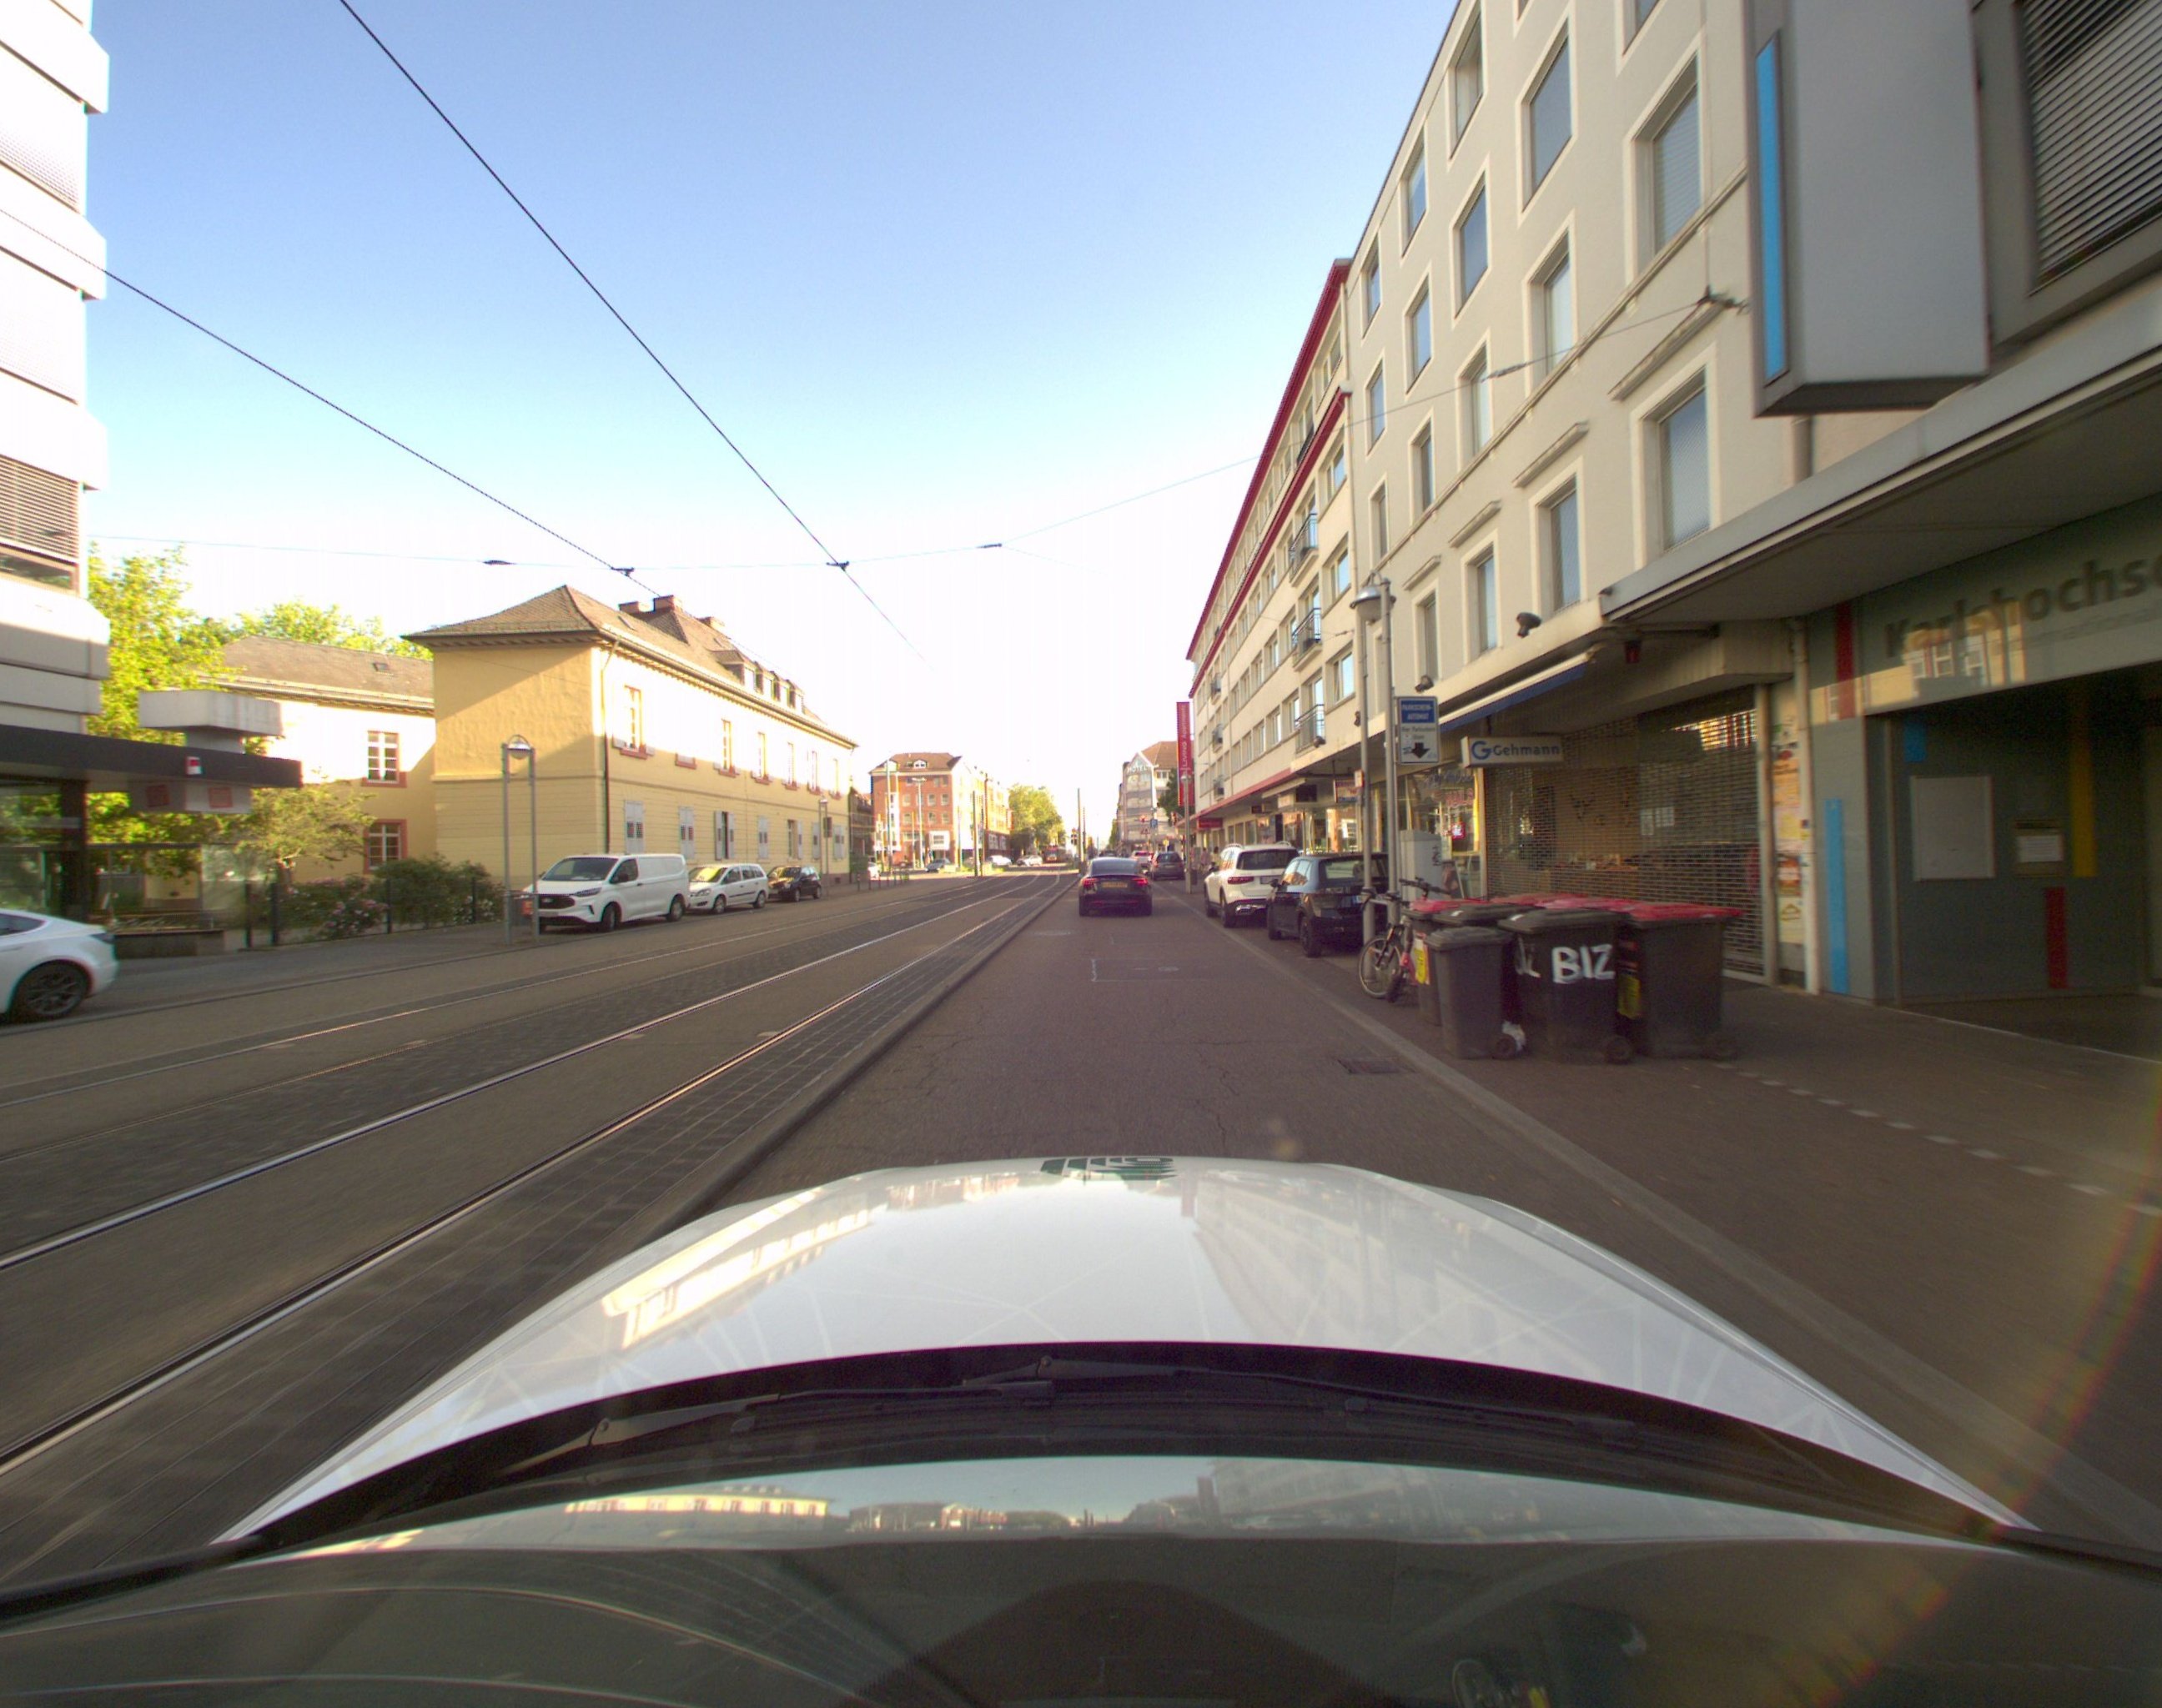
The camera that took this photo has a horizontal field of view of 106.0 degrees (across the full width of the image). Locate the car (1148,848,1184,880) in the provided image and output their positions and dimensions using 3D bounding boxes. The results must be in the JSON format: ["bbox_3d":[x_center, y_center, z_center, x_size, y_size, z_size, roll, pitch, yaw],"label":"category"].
[{"bbox_3d":[4.719,0.515,45.717,1.738,1.632,3.651,-3,0,2],"label":"car"}]

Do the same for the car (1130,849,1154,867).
[{"bbox_3d":[5.450,0.377,73.098,1.778,1.519,4.216,0,0,-1],"label":"car"}]

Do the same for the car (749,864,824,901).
[{"bbox_3d":[-11.996,1.125,33.376,1.608,1.400,3.721,0,0,1],"label":"car"}]

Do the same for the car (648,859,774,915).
[{"bbox_3d":[-12.250,1.034,27.335,1.799,1.685,4.654,0,0,4],"label":"car"}]

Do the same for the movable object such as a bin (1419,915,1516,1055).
[{"bbox_3d":[2.866,0.959,6.073,0.485,0.958,0.458,-3,-1,5],"label":"movable object such as a bin"}]

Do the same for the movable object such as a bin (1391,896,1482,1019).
[{"bbox_3d":[3.182,0.907,7.338,0.520,1.014,0.672,-2,-1,4],"label":"movable object such as a bin"}]

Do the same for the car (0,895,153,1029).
[{"bbox_3d":[-13.039,1.236,8.244,1.882,1.421,4.656,0,0,1],"label":"car"}]

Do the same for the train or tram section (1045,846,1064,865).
[{"bbox_3d":[-5.308,0.304,163.805,2.663,3.715,14.201,0,0,2],"label":"train or tram section"}]

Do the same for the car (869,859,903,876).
[{"bbox_3d":[-17.591,1.177,73.705,1.895,1.464,4.004,0,0,4],"label":"car"}]

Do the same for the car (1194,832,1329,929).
[{"bbox_3d":[3.765,0.512,17.946,1.843,1.724,5.194,-3,0,1],"label":"car"}]

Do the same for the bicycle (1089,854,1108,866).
[{"bbox_3d":[1.605,0.517,74.329,1.726,1.088,0.677,0,-1,-6],"label":"bicycle"}]

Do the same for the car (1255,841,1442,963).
[{"bbox_3d":[3.941,0.636,12.710,1.608,1.528,4.071,-3,0,1],"label":"car"}]

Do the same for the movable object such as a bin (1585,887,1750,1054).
[{"bbox_3d":[4.215,0.813,5.905,0.687,1.089,0.666,-3,-1,5],"label":"movable object such as a bin"}]

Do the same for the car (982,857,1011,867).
[{"bbox_3d":[-12.172,1.128,117.268,1.974,1.420,4.025,0,0,36],"label":"car"}]

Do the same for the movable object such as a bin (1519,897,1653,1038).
[{"bbox_3d":[4.002,0.878,6.495,0.655,1.014,0.637,-2,-1,4],"label":"movable object such as a bin"}]

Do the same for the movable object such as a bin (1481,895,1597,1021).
[{"bbox_3d":[4.050,0.902,7.244,0.655,1.014,0.637,-2,-1,4],"label":"movable object such as a bin"}]

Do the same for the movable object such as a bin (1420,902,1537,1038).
[{"bbox_3d":[3.227,0.930,6.646,0.683,1.014,0.509,-2,-1,4],"label":"movable object such as a bin"}]

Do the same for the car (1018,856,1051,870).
[{"bbox_3d":[-6.468,1.216,113.272,4.017,1.739,1.978,-2,0,-35],"label":"car"}]

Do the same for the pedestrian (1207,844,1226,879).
[{"bbox_3d":[7.123,0.401,42.786,0.797,1.774,0.936,-2,-1,16],"label":"pedestrian"}]

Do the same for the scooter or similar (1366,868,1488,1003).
[{"bbox_3d":[3.374,0.786,7.973,0.989,1.231,0.320,-3,-1,0],"label":"scooter or similar"}]

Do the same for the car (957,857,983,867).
[{"bbox_3d":[-17.470,1.254,128.343,3.950,1.470,2.012,0,-1,43],"label":"car"}]

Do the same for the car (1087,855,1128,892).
[{"bbox_3d":[1.152,0.763,34.330,1.647,1.418,4.003,0,1,3],"label":"car"}]

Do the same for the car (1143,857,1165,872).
[{"bbox_3d":[7.579,1.084,85.151,1.820,1.519,3.645,0,0,-3],"label":"car"}]

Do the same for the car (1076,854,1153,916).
[{"bbox_3d":[0.831,0.751,21.320,1.842,1.484,3.787,0,0,1],"label":"car"}]

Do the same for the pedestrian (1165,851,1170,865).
[{"bbox_3d":[9.937,0.462,93.107,0.559,1.683,0.751,-1,0,7],"label":"pedestrian"}]

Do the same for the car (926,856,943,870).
[{"bbox_3d":[-16.865,1.055,93.825,1.881,1.495,4.912,-2,0,-11],"label":"car"}]

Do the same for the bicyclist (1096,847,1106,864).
[{"bbox_3d":[1.799,0.138,74.493,0.835,1.500,0.559,0,-1,-6],"label":"bicyclist"}]

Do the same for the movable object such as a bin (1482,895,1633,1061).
[{"bbox_3d":[3.451,0.873,5.956,0.687,1.089,0.686,-3,-1,5],"label":"movable object such as a bin"}]

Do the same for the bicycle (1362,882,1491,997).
[{"bbox_3d":[3.517,0.864,8.328,1.127,1.079,0.320,-3,-1,0],"label":"bicycle"}]

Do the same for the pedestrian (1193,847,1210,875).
[{"bbox_3d":[7.325,0.438,49.391,0.810,1.683,0.718,0,-1,25],"label":"pedestrian"}]

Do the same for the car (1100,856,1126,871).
[{"bbox_3d":[3.263,0.932,84.746,1.825,1.519,4.202,0,0,-11],"label":"car"}]

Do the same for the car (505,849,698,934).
[{"bbox_3d":[-12.471,0.888,21.679,1.986,1.975,5.098,0,0,1],"label":"car"}]
